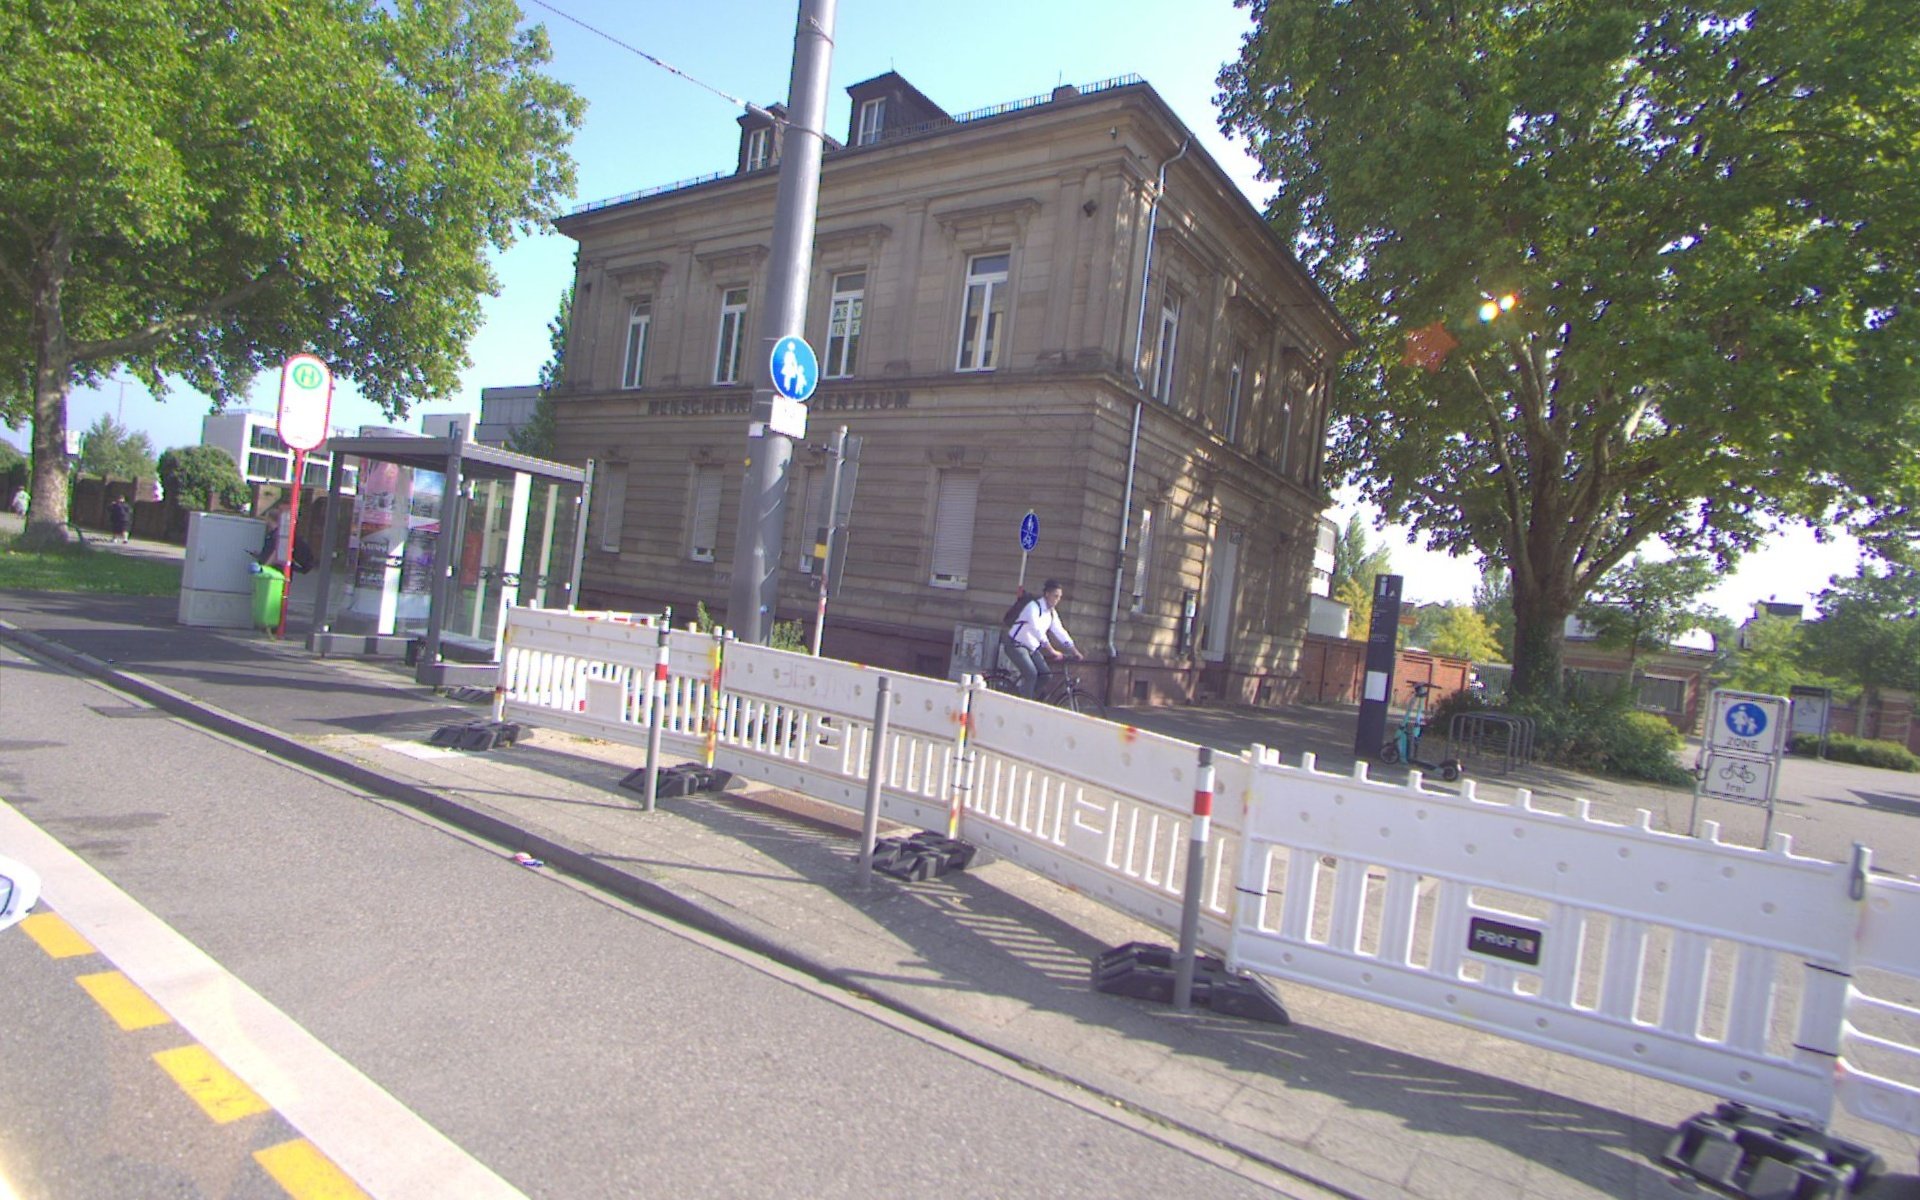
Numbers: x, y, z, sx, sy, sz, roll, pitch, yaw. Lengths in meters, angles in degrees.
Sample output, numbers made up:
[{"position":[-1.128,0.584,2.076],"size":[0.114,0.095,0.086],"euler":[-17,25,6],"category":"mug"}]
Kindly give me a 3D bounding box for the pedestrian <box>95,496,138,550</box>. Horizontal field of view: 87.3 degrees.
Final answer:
[{"position":[-29.006,-2.651,34.606],"size":[0.996,1.708,0.818],"euler":[7,1,36],"category":"pedestrian"}]

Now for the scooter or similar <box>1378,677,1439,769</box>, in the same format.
[{"position":[6.893,1.874,15.506],"size":[0.414,1.225,1.255],"euler":[8,2,11],"category":"scooter or similar"}]

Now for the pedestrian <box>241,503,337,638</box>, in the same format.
[{"position":[-9.017,-0.383,13.535],"size":[0.636,1.718,0.690],"euler":[7,1,15],"category":"pedestrian"}]

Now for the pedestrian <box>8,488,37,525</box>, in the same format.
[{"position":[-44.861,-4.473,48.124],"size":[0.932,1.625,0.805],"euler":[7,2,36],"category":"pedestrian"}]

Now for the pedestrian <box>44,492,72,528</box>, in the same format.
[{"position":[-43.801,-4.387,48.852],"size":[0.932,1.625,0.805],"euler":[7,2,36],"category":"pedestrian"}]

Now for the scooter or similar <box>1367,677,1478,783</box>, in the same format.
[{"position":[6.416,1.792,14.006],"size":[0.418,1.225,1.244],"euler":[6,2,-31],"category":"scooter or similar"}]

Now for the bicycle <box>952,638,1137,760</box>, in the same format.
[{"position":[0.929,1.080,11.328],"size":[1.872,1.055,0.717],"euler":[7,1,34],"category":"bicycle"}]

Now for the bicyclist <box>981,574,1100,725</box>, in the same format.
[{"position":[0.910,0.551,11.372],"size":[0.940,1.562,0.717],"euler":[7,1,33],"category":"bicyclist"}]
